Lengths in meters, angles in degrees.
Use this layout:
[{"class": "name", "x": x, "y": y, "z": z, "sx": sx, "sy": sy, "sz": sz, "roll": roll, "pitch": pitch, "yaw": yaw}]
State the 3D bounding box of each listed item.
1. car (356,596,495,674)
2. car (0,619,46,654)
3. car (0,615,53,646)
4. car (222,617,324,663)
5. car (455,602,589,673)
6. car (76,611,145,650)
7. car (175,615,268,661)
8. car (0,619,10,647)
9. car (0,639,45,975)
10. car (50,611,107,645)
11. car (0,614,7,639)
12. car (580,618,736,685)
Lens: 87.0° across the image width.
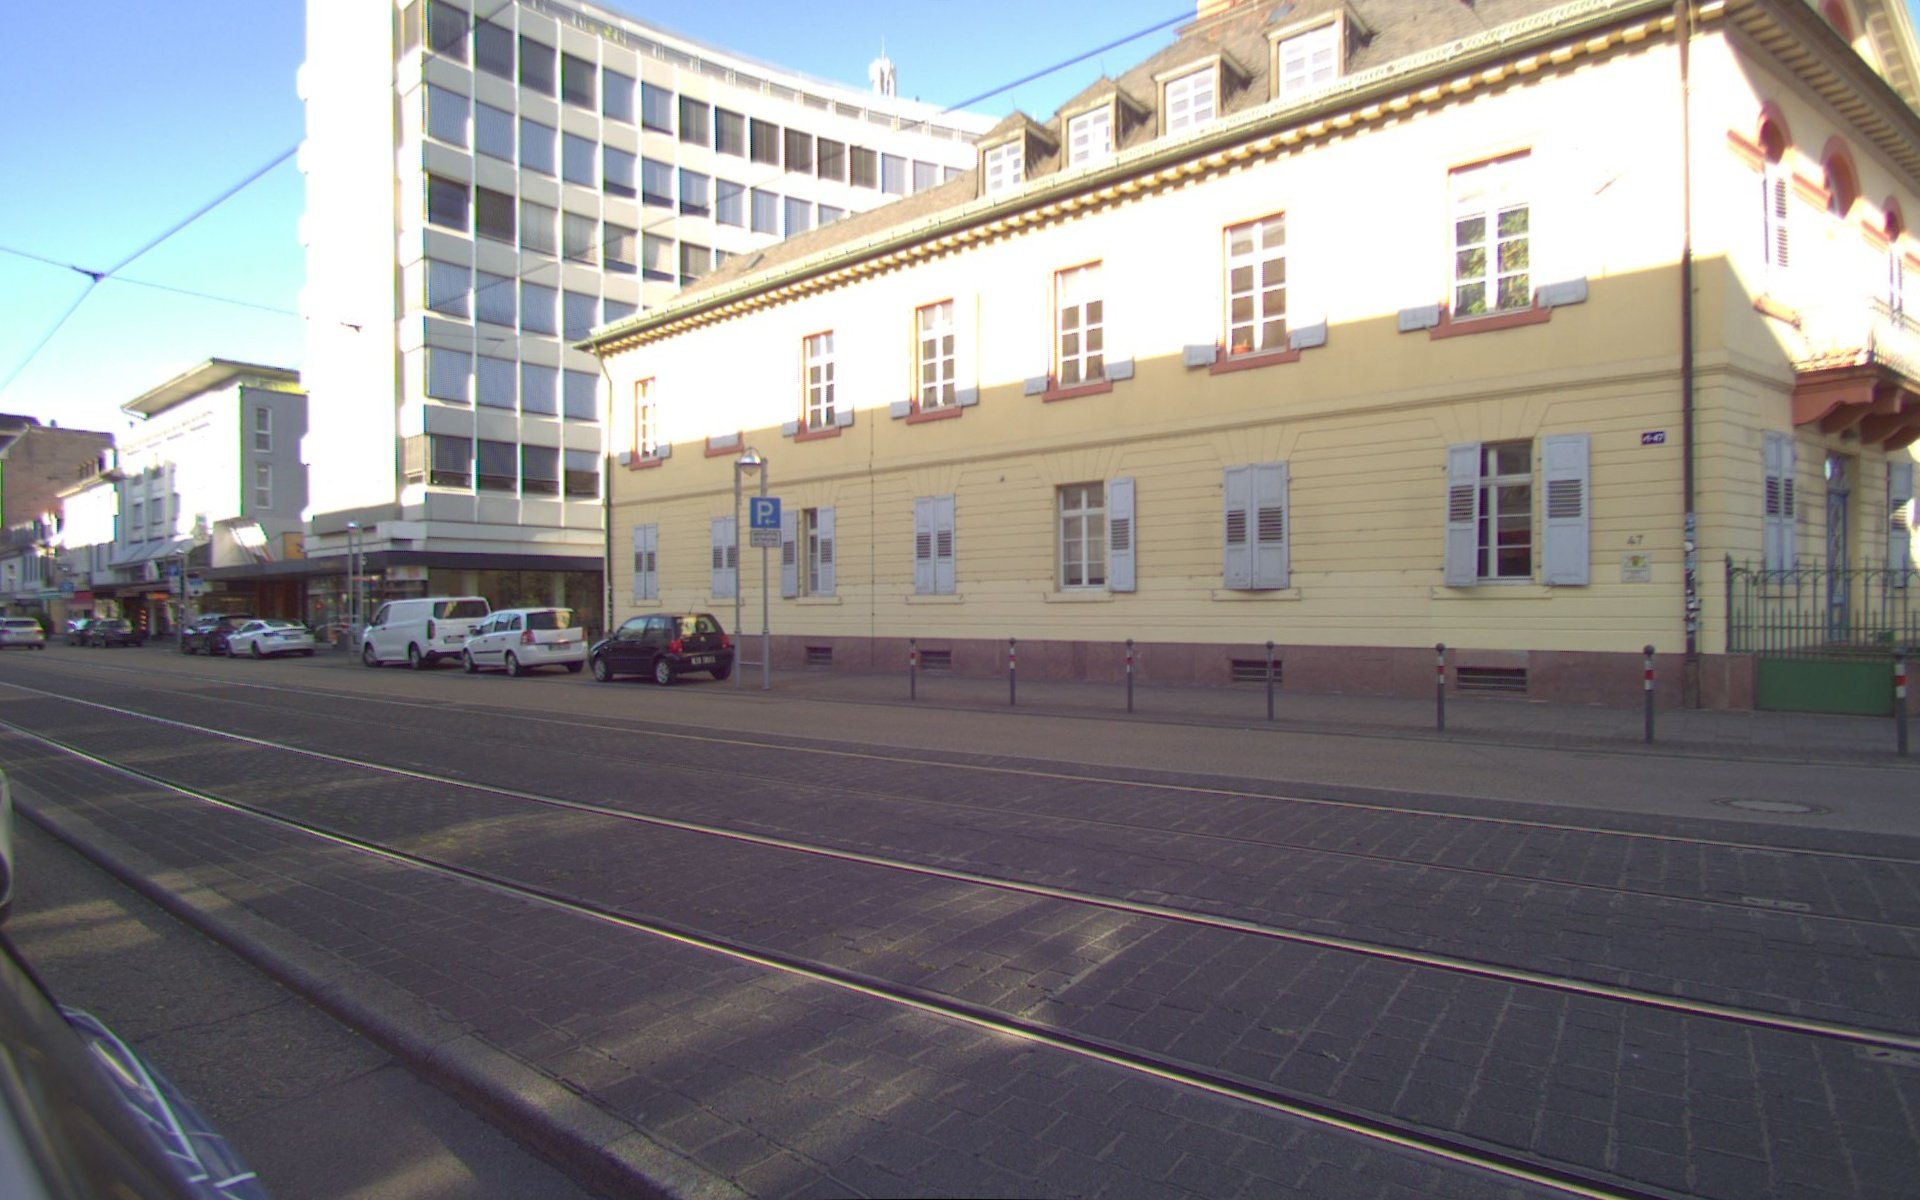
[{"class": "car", "x": -15.354, "y": 0.970, "z": 28.947, "sx": 4.619, "sy": 2.029, "sz": 2.014, "roll": -1, "pitch": -1, "yaw": 41}, {"class": "car", "x": -46.350, "y": 1.769, "z": 49.531, "sx": 3.994, "sy": 1.609, "sz": 1.739, "roll": -1, "pitch": -1, "yaw": 38}, {"class": "car", "x": -63.042, "y": 2.051, "z": 68.278, "sx": 3.996, "sy": 2.058, "sz": 2.172, "roll": -1, "pitch": -1, "yaw": 39}, {"class": "car", "x": -25.609, "y": 1.445, "z": 37.656, "sx": 4.369, "sy": 1.541, "sz": 1.974, "roll": -1, "pitch": 0, "yaw": 39}, {"class": "car", "x": -11.029, "y": 0.891, "z": 25.361, "sx": 4.005, "sy": 1.621, "sz": 1.619, "roll": -1, "pitch": 0, "yaw": 43}, {"class": "car", "x": -43.852, "y": 1.546, "z": 52.228, "sx": 3.995, "sy": 1.874, "sz": 1.974, "roll": -1, "pitch": 0, "yaw": 38}, {"class": "car", "x": -29.910, "y": 1.491, "z": 40.963, "sx": 4.103, "sy": 1.717, "sz": 1.975, "roll": -1, "pitch": 0, "yaw": 38}, {"class": "car", "x": -71.360, "y": 2.446, "z": 74.336, "sx": 3.998, "sy": 2.029, "sz": 1.973, "roll": -1, "pitch": -1, "yaw": 41}, {"class": "car", "x": -6.099, "y": 0.903, "z": 4.793, "sx": 3.992, "sy": 1.393, "sz": 1.862, "roll": -1, "pitch": 0, "yaw": 36}, {"class": "car", "x": -50.845, "y": 1.625, "z": 58.347, "sx": 3.995, "sy": 1.896, "sz": 1.768, "roll": -1, "pitch": -1, "yaw": 38}, {"class": "car", "x": -78.771, "y": 2.148, "z": 81.825, "sx": 3.995, "sy": 2.029, "sz": 1.974, "roll": -1, "pitch": 0, "yaw": 38}, {"class": "car", "x": -6.435, "y": 1.037, "z": 21.445, "sx": 3.210, "sy": 1.263, "sz": 1.667, "roll": -1, "pitch": 0, "yaw": 39}]
